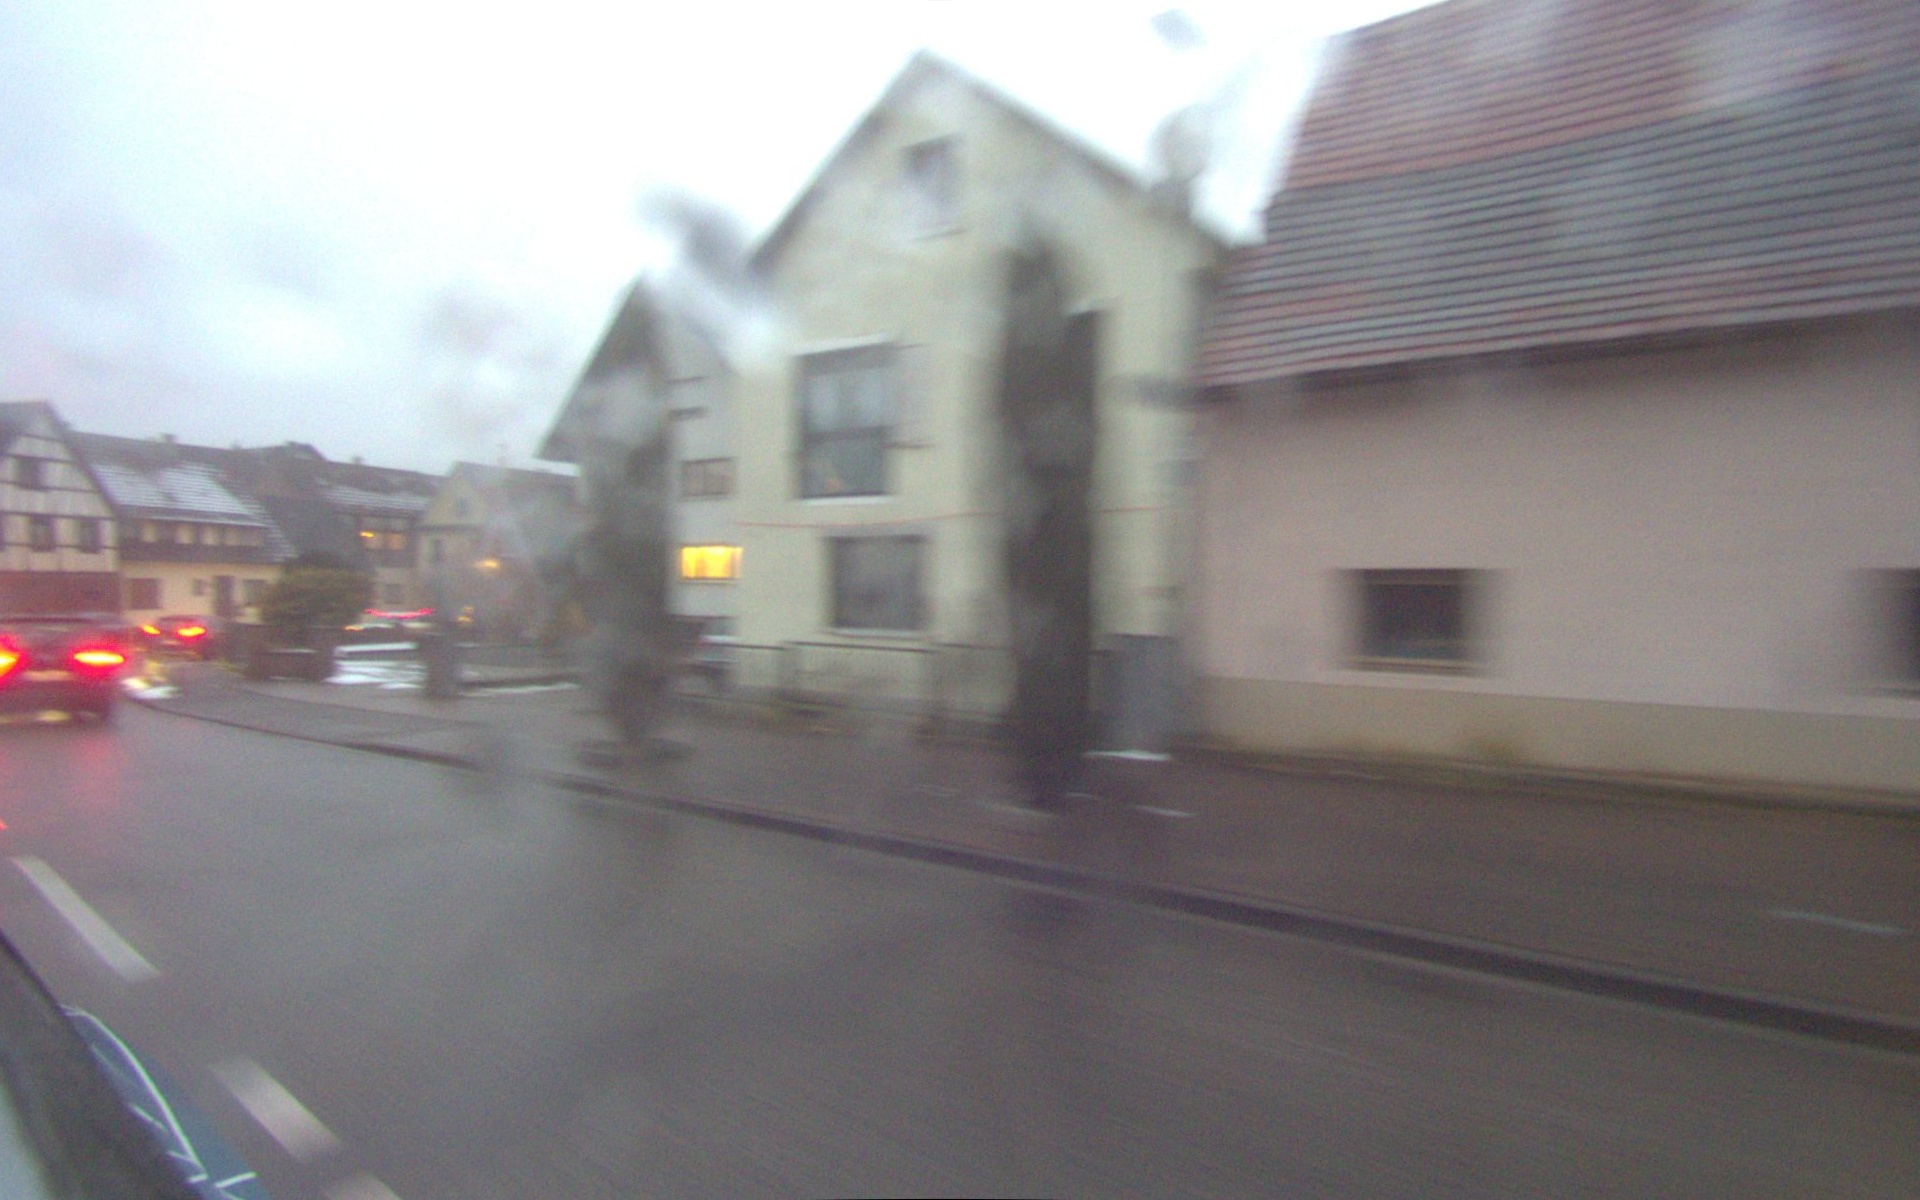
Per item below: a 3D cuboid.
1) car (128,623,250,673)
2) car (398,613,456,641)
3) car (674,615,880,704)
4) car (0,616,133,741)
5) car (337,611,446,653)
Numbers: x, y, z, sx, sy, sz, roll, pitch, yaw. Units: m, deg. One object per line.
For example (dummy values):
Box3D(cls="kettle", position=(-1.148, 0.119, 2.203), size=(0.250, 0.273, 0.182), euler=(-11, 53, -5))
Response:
Box3D(cls="car", position=(-26.956, 1.628, 35.590), size=(1.851, 1.625, 4.616), euler=(1, -1, -16))
Box3D(cls="car", position=(-33.310, 1.660, 63.272), size=(3.480, 1.517, 1.632), euler=(3, 1, 32))
Box3D(cls="car", position=(-3.446, 1.069, 19.703), size=(1.813, 1.473, 3.958), euler=(-1, -1, 31))
Box3D(cls="car", position=(-14.143, 1.123, 15.422), size=(4.000, 1.666, 1.891), euler=(-2, -1, 43))
Box3D(cls="car", position=(-29.344, 1.650, 52.437), size=(2.046, 2.073, 4.768), euler=(0, -2, 20))
